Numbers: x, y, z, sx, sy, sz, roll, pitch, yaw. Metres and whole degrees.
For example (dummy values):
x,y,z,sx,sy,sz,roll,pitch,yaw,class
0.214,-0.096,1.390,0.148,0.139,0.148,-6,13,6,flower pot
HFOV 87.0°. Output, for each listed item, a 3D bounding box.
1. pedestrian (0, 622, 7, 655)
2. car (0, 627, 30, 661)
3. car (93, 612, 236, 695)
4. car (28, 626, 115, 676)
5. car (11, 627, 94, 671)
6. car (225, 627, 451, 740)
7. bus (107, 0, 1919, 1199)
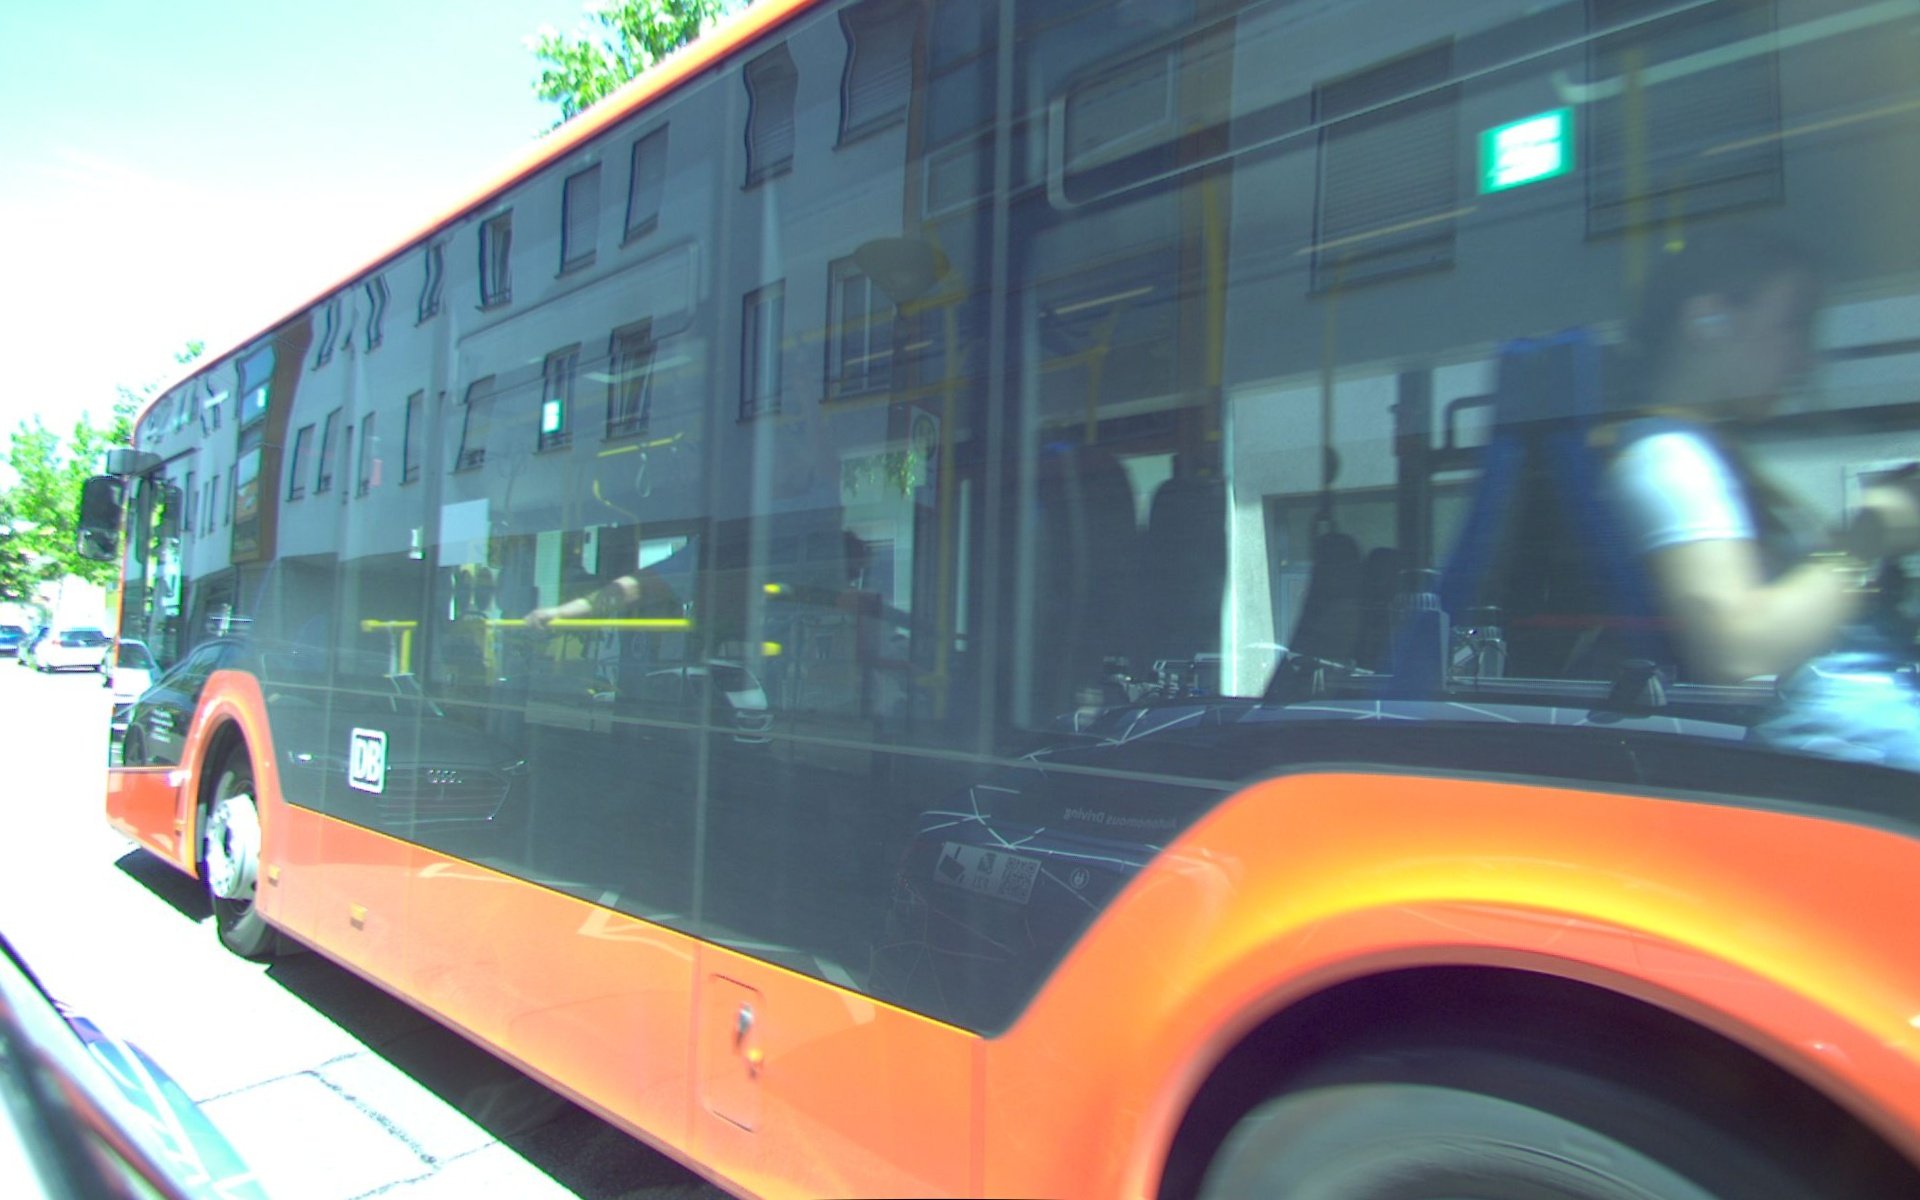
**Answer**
x,y,z,sx,sy,sz,roll,pitch,yaw,class
-47.716,1.899,50.136,0.528,1.614,0.623,-2,-3,42,pedestrian
-41.490,1.863,43.602,4.156,1.418,1.639,-1,-3,42,car
-18.429,1.204,23.375,4.517,1.739,1.757,-2,-3,41,car
-27.268,1.539,31.031,3.408,1.441,1.537,-1,-4,42,car
-31.628,1.681,35.226,4.097,1.441,1.628,-1,-4,42,car
-9.445,1.135,15.204,4.458,1.448,1.701,-1,-2,42,car
2.574,-0.124,1.195,17.795,3.147,2.641,-1,-3,41,bus
